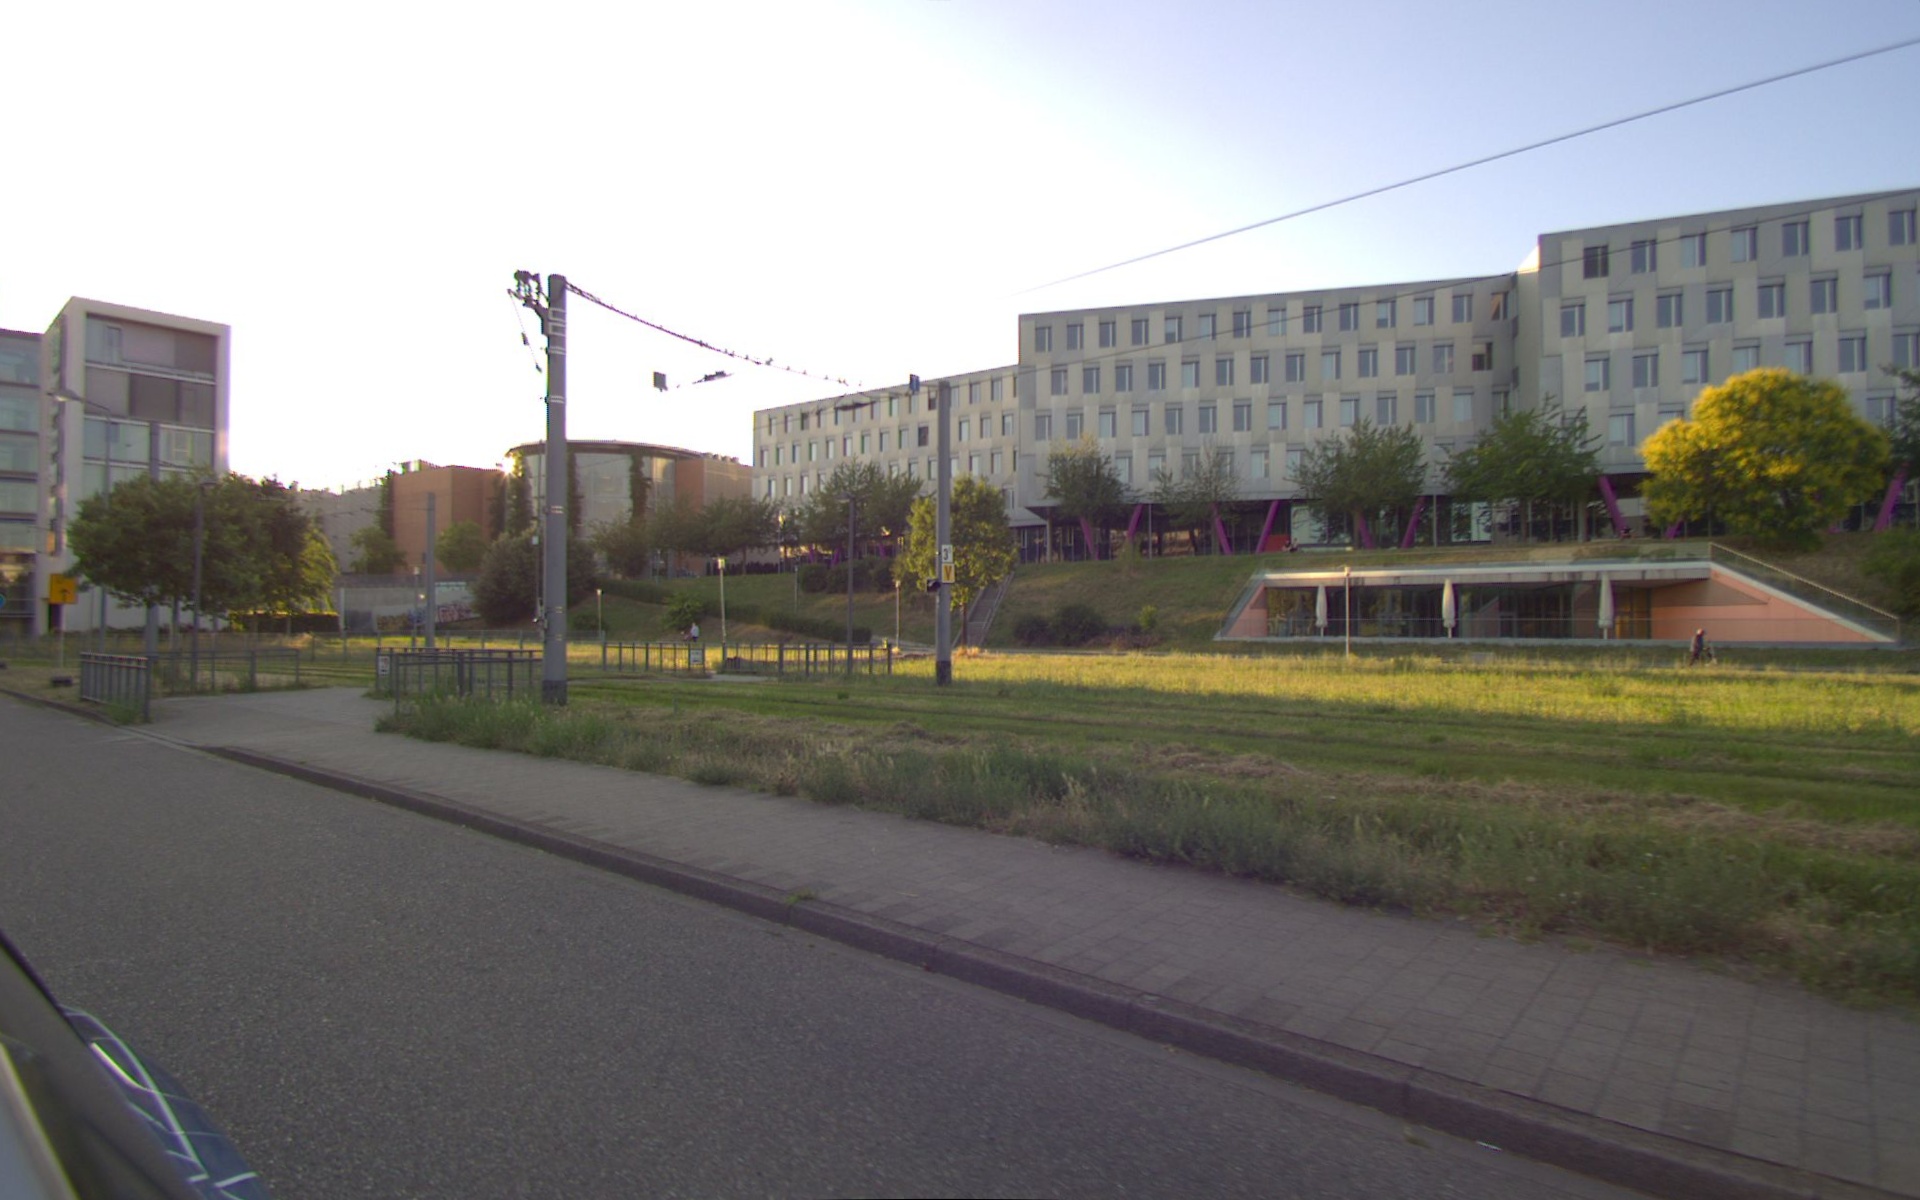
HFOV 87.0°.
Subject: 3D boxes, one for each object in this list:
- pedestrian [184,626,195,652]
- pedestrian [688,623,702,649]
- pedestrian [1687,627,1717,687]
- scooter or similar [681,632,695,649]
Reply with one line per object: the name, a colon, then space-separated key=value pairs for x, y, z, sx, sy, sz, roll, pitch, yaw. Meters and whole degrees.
pedestrian: x=-55.732 y=2.843 z=73.207 sx=0.480 sy=1.850 sz=0.446 roll=-2 pitch=0 yaw=20
pedestrian: x=-18.881 y=2.546 z=72.147 sx=0.790 sy=1.850 sz=0.610 roll=-2 pitch=-1 yaw=40
pedestrian: x=26.861 y=2.049 z=36.645 sx=0.790 sy=2.098 sz=0.610 roll=-2 pitch=-1 yaw=40
scooter or similar: x=-19.540 y=2.908 z=72.668 sx=0.790 sy=1.253 sz=0.610 roll=-2 pitch=-1 yaw=40
